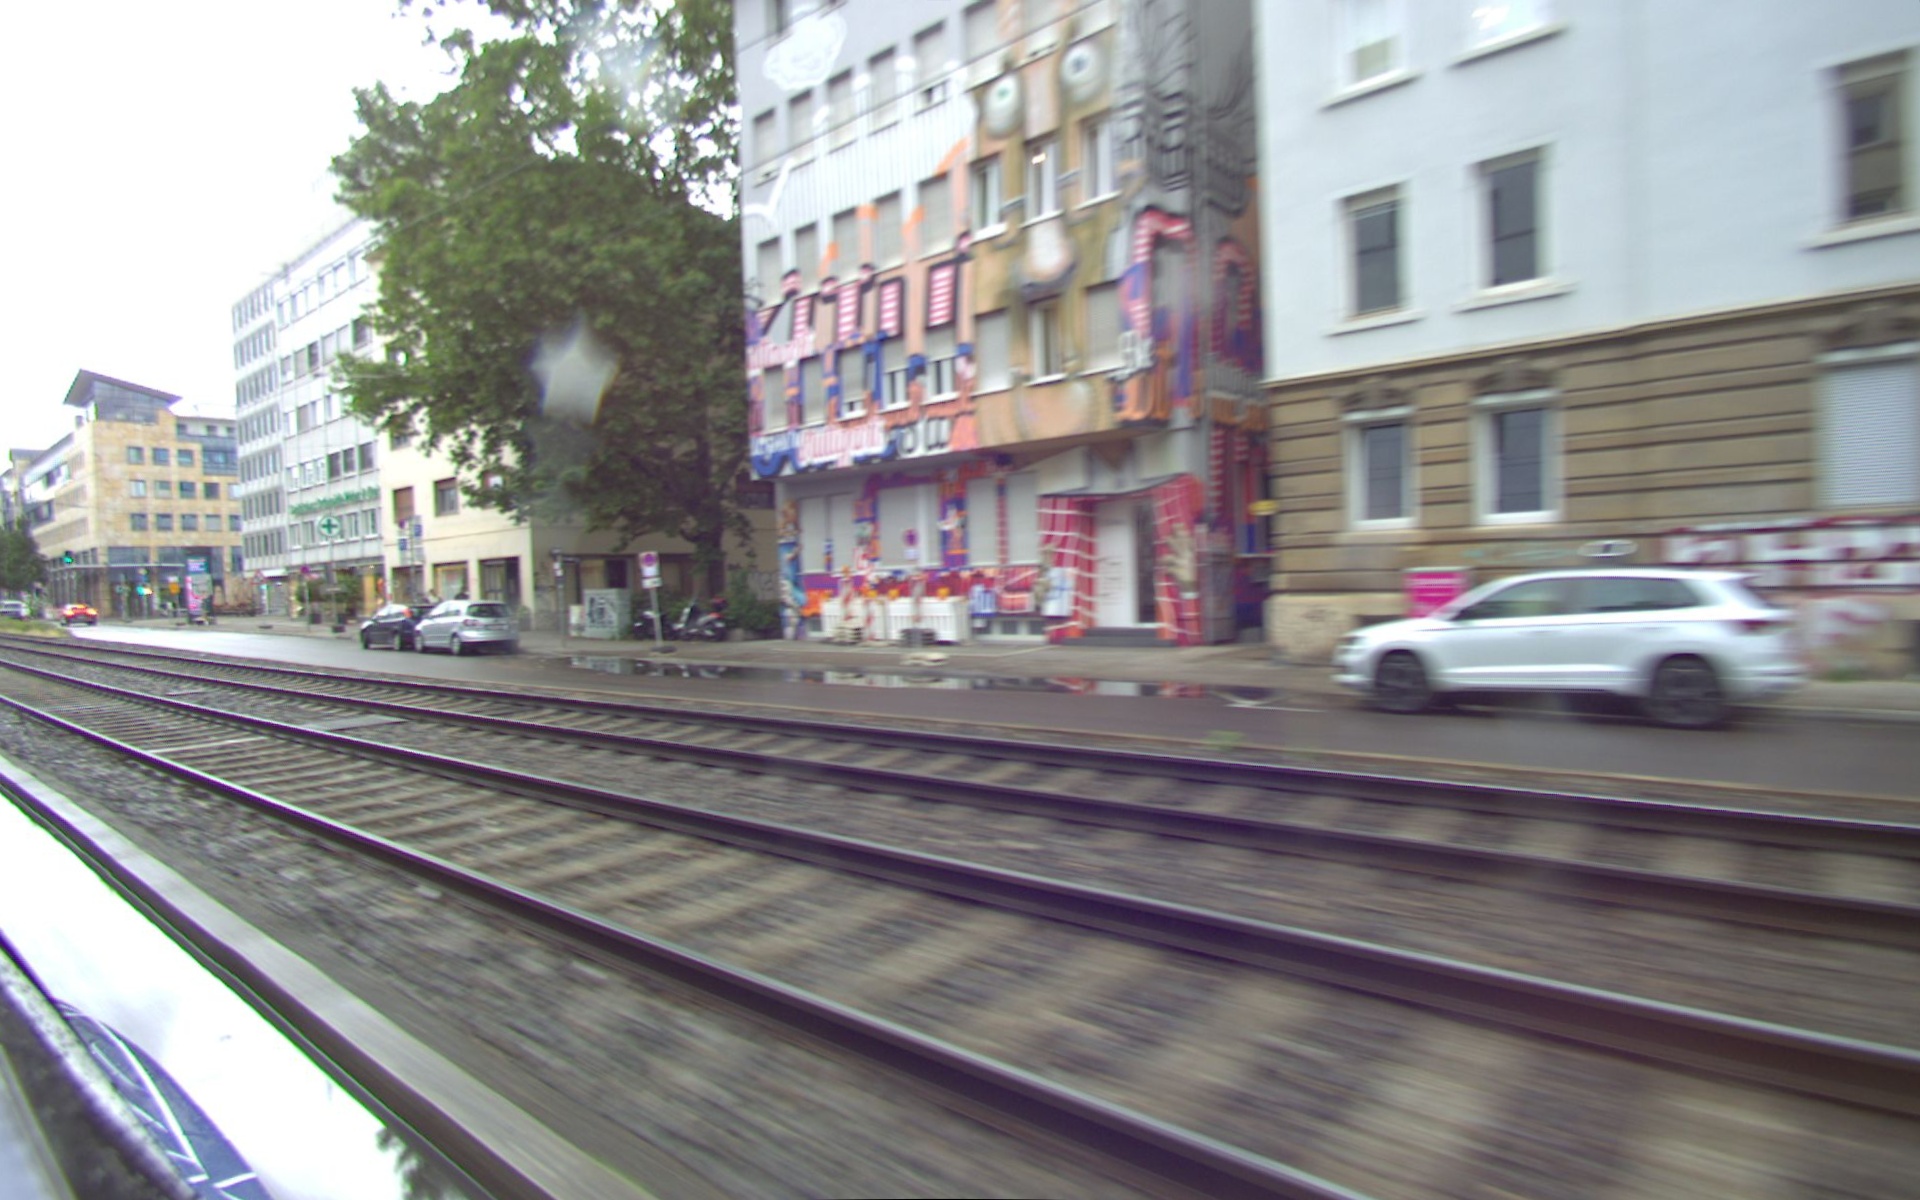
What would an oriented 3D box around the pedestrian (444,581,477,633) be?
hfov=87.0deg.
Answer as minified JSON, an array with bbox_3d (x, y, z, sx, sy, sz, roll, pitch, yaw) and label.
[{"bbox_3d":[-18.874,0.268,38.213,0.982,1.910,0.720,0,2,41],"label":"pedestrian"}]

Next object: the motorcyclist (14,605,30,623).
[{"bbox_3d":[-68.926,1.029,74.389,0.970,1.226,0.734,0,3,43],"label":"motorcyclist"}]

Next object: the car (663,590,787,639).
[{"bbox_3d":[-7.787,0.463,33.364,3.997,1.465,1.973,-1,1,40],"label":"car"}]

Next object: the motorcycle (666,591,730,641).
[{"bbox_3d":[-7.654,0.465,29.482,2.118,1.389,0.633,-1,2,40],"label":"motorcycle"}]

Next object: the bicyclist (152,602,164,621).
[{"bbox_3d":[-79.222,1.145,99.969,0.783,1.818,0.701,-1,1,41],"label":"bicyclist"}]

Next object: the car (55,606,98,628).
[{"bbox_3d":[-65.567,1.227,75.054,4.445,1.530,1.972,0,2,44],"label":"car"}]

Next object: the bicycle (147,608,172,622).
[{"bbox_3d":[-78.983,1.463,99.892,0.659,1.320,1.746,-1,2,40],"label":"bicycle"}]

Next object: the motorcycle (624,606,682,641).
[{"bbox_3d":[-9.537,0.713,31.387,2.118,1.040,0.633,-1,2,40],"label":"motorcycle"}]

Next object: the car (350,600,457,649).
[{"bbox_3d":[-18.278,0.780,33.178,4.217,1.480,1.726,-1,1,41],"label":"car"}]

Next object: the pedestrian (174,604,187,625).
[{"bbox_3d":[-70.190,1.316,91.113,0.667,1.794,0.705,-2,1,-14],"label":"pedestrian"}]

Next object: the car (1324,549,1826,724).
[{"bbox_3d":[6.569,0.301,11.113,4.433,1.530,1.973,-1,2,41],"label":"car"}]

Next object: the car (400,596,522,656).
[{"bbox_3d":[-14.827,0.738,29.971,4.217,1.582,1.704,-1,2,41],"label":"car"}]

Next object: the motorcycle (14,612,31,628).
[{"bbox_3d":[-68.882,1.480,74.373,1.931,1.067,0.734,0,3,43],"label":"motorcycle"}]

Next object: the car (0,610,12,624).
[{"bbox_3d":[-103.922,1.871,109.265,4.252,1.497,1.672,-1,2,40],"label":"car"}]

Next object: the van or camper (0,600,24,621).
[{"bbox_3d":[-98.066,1.045,104.127,5.195,2.012,1.996,1,3,41],"label":"van or camper"}]

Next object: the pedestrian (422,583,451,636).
[{"bbox_3d":[-19.457,0.333,37.610,0.742,1.910,0.671,0,2,41],"label":"pedestrian"}]

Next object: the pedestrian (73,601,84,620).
[{"bbox_3d":[-89.225,1.072,102.408,0.679,1.828,0.693,-1,2,43],"label":"pedestrian"}]
